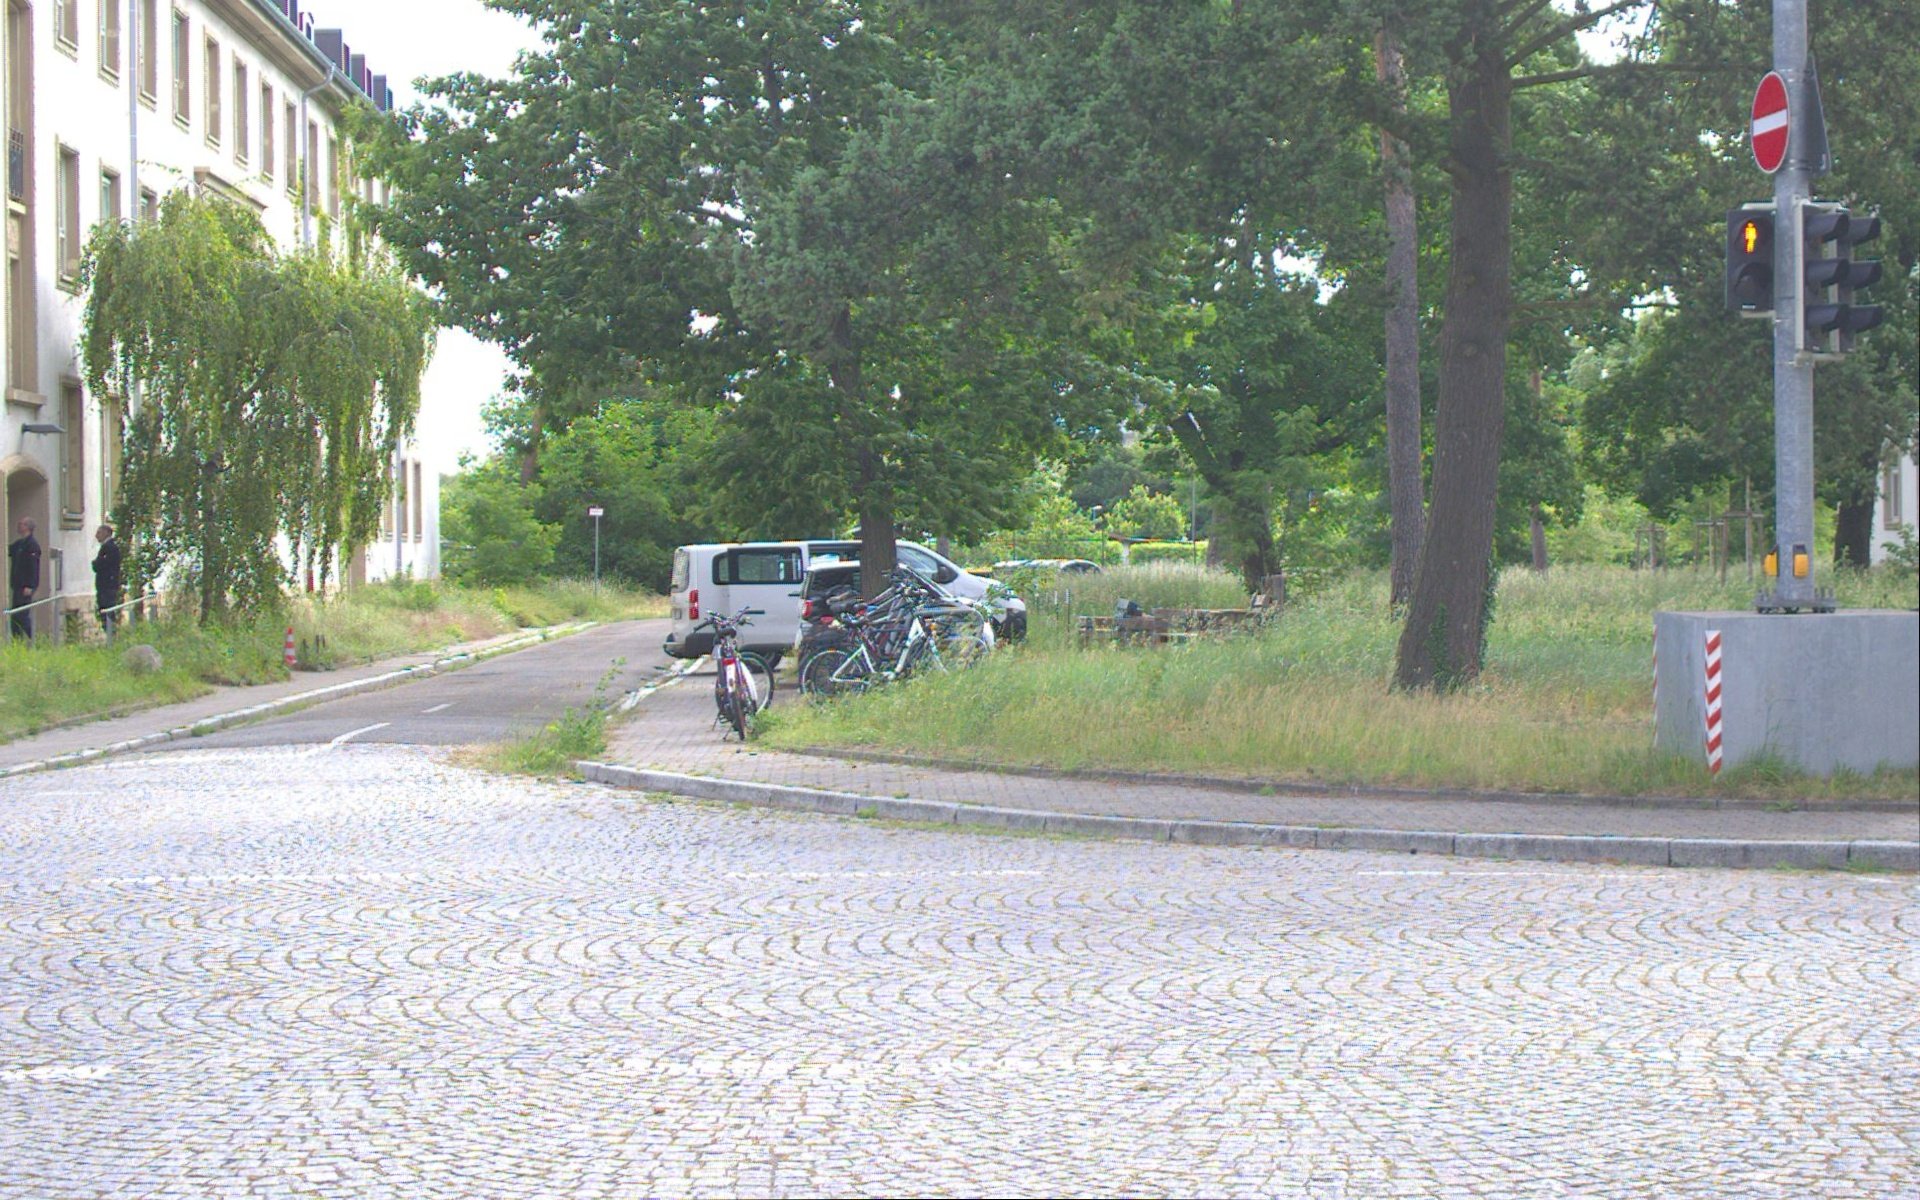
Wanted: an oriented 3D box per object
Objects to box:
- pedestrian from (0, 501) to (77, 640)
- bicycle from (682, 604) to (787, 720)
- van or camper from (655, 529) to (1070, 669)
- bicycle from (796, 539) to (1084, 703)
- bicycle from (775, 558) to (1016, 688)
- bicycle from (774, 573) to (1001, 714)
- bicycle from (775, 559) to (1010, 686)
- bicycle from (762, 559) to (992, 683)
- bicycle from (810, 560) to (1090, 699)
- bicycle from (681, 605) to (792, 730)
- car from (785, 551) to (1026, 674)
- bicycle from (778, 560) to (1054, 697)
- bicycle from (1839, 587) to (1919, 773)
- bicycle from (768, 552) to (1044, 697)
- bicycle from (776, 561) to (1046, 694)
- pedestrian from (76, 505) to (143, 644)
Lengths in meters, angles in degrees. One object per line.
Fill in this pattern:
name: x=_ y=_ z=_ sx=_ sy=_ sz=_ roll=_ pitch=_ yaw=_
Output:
pedestrian: x=-12.755 y=-0.408 z=47.062 sx=1.194 sy=1.863 sz=1.550 roll=1 pitch=0 yaw=-12
bicycle: x=-2.030 y=0.544 z=31.196 sx=0.727 sy=0.993 sz=1.978 roll=0 pitch=1 yaw=2
van or camper: x=-1.456 y=-0.041 z=50.620 sx=5.740 sy=1.951 sz=2.238 roll=-1 pitch=1 yaw=-14
bicycle: x=-0.215 y=0.198 z=34.014 sx=2.802 sy=1.578 sz=0.951 roll=0 pitch=1 yaw=-2
bicycle: x=-0.713 y=0.243 z=37.324 sx=2.567 sy=1.367 sz=0.951 roll=-1 pitch=1 yaw=-3
bicycle: x=-0.694 y=0.402 z=32.520 sx=2.113 sy=1.302 sz=0.874 roll=0 pitch=1 yaw=-2
bicycle: x=-0.758 y=0.239 z=38.163 sx=2.567 sy=1.367 sz=0.951 roll=-1 pitch=1 yaw=-3
bicycle: x=-0.954 y=0.233 z=38.996 sx=2.567 sy=1.367 sz=0.951 roll=-1 pitch=1 yaw=-3
bicycle: x=-0.120 y=0.289 z=34.949 sx=2.802 sy=1.367 sz=0.951 roll=0 pitch=1 yaw=-2
bicycle: x=-1.877 y=0.554 z=29.107 sx=0.900 sy=0.993 sz=1.979 roll=0 pitch=1 yaw=-3
car: x=-0.777 y=0.160 z=47.168 sx=3.224 sy=1.615 sz=1.938 roll=1 pitch=0 yaw=-3
bicycle: x=-0.467 y=0.283 z=35.473 sx=2.802 sy=1.367 sz=0.951 roll=0 pitch=1 yaw=-2
bicycle: x=5.934 y=0.470 z=20.605 sx=0.644 sy=1.059 sz=1.834 roll=-4 pitch=1 yaw=-5
bicycle: x=-0.528 y=0.226 z=33.135 sx=2.619 sy=1.362 sz=0.874 roll=0 pitch=1 yaw=-2
bicycle: x=-0.530 y=0.278 z=36.365 sx=2.802 sy=1.367 sz=0.951 roll=0 pitch=1 yaw=-2
pedestrian: x=-11.941 y=-0.358 z=48.310 sx=0.865 sy=1.925 sz=0.837 roll=1 pitch=0 yaw=-13
